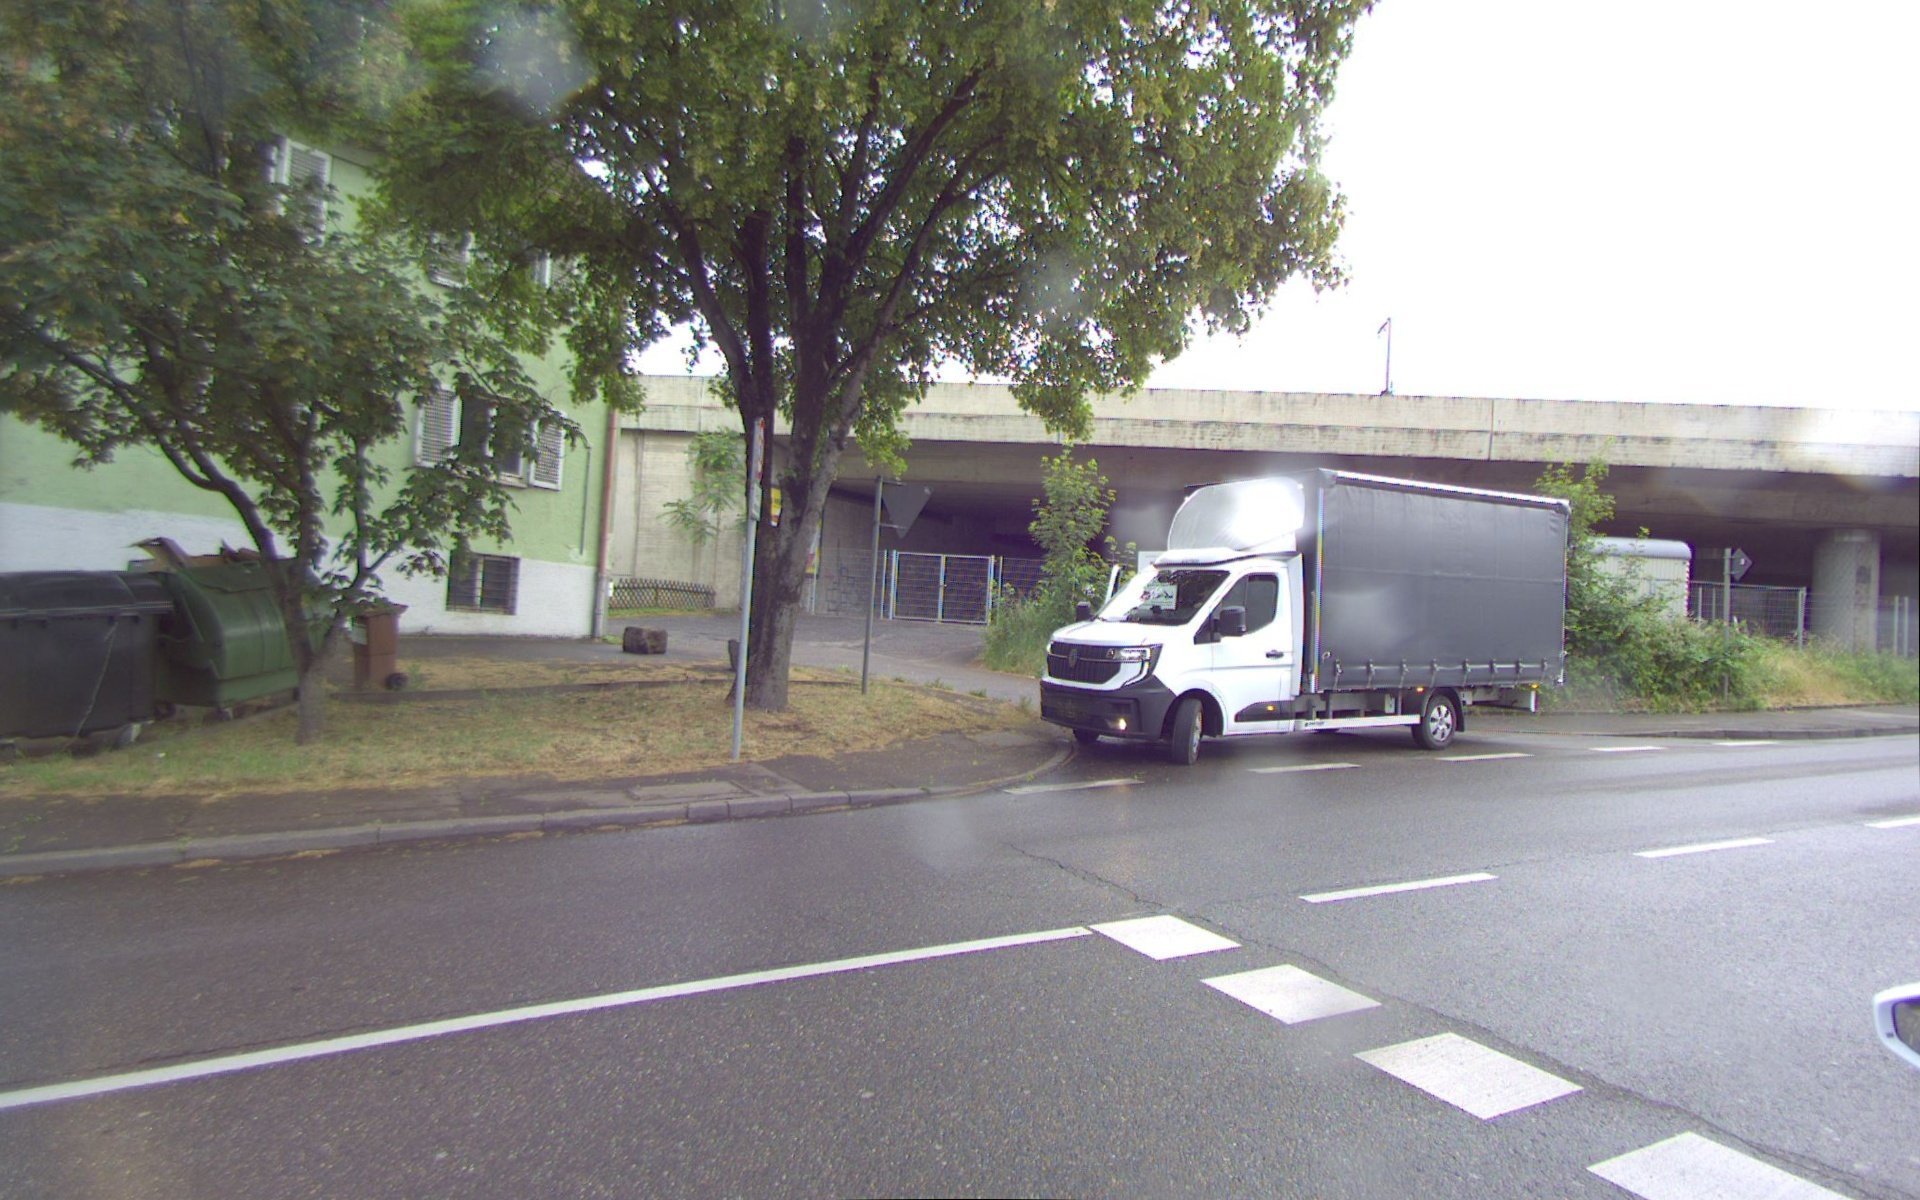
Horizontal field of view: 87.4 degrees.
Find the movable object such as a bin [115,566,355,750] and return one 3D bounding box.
[{"bbox_3d":[-6.725,0.470,9.419,1.078,1.457,1.463,5,5,13],"label":"movable object such as a bin"}]

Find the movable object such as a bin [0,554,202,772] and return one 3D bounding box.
[{"bbox_3d":[-7.292,0.418,8.054,1.268,1.457,1.463,5,5,13],"label":"movable object such as a bin"}]

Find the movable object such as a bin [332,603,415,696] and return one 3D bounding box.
[{"bbox_3d":[-6.350,0.531,10.901,0.715,0.970,0.554,3,-1,-30],"label":"movable object such as a bin"}]

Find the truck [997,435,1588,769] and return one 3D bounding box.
[{"bbox_3d":[4.465,0.177,12.855,7.681,3.279,2.599,3,-1,-29],"label":"truck"}]
